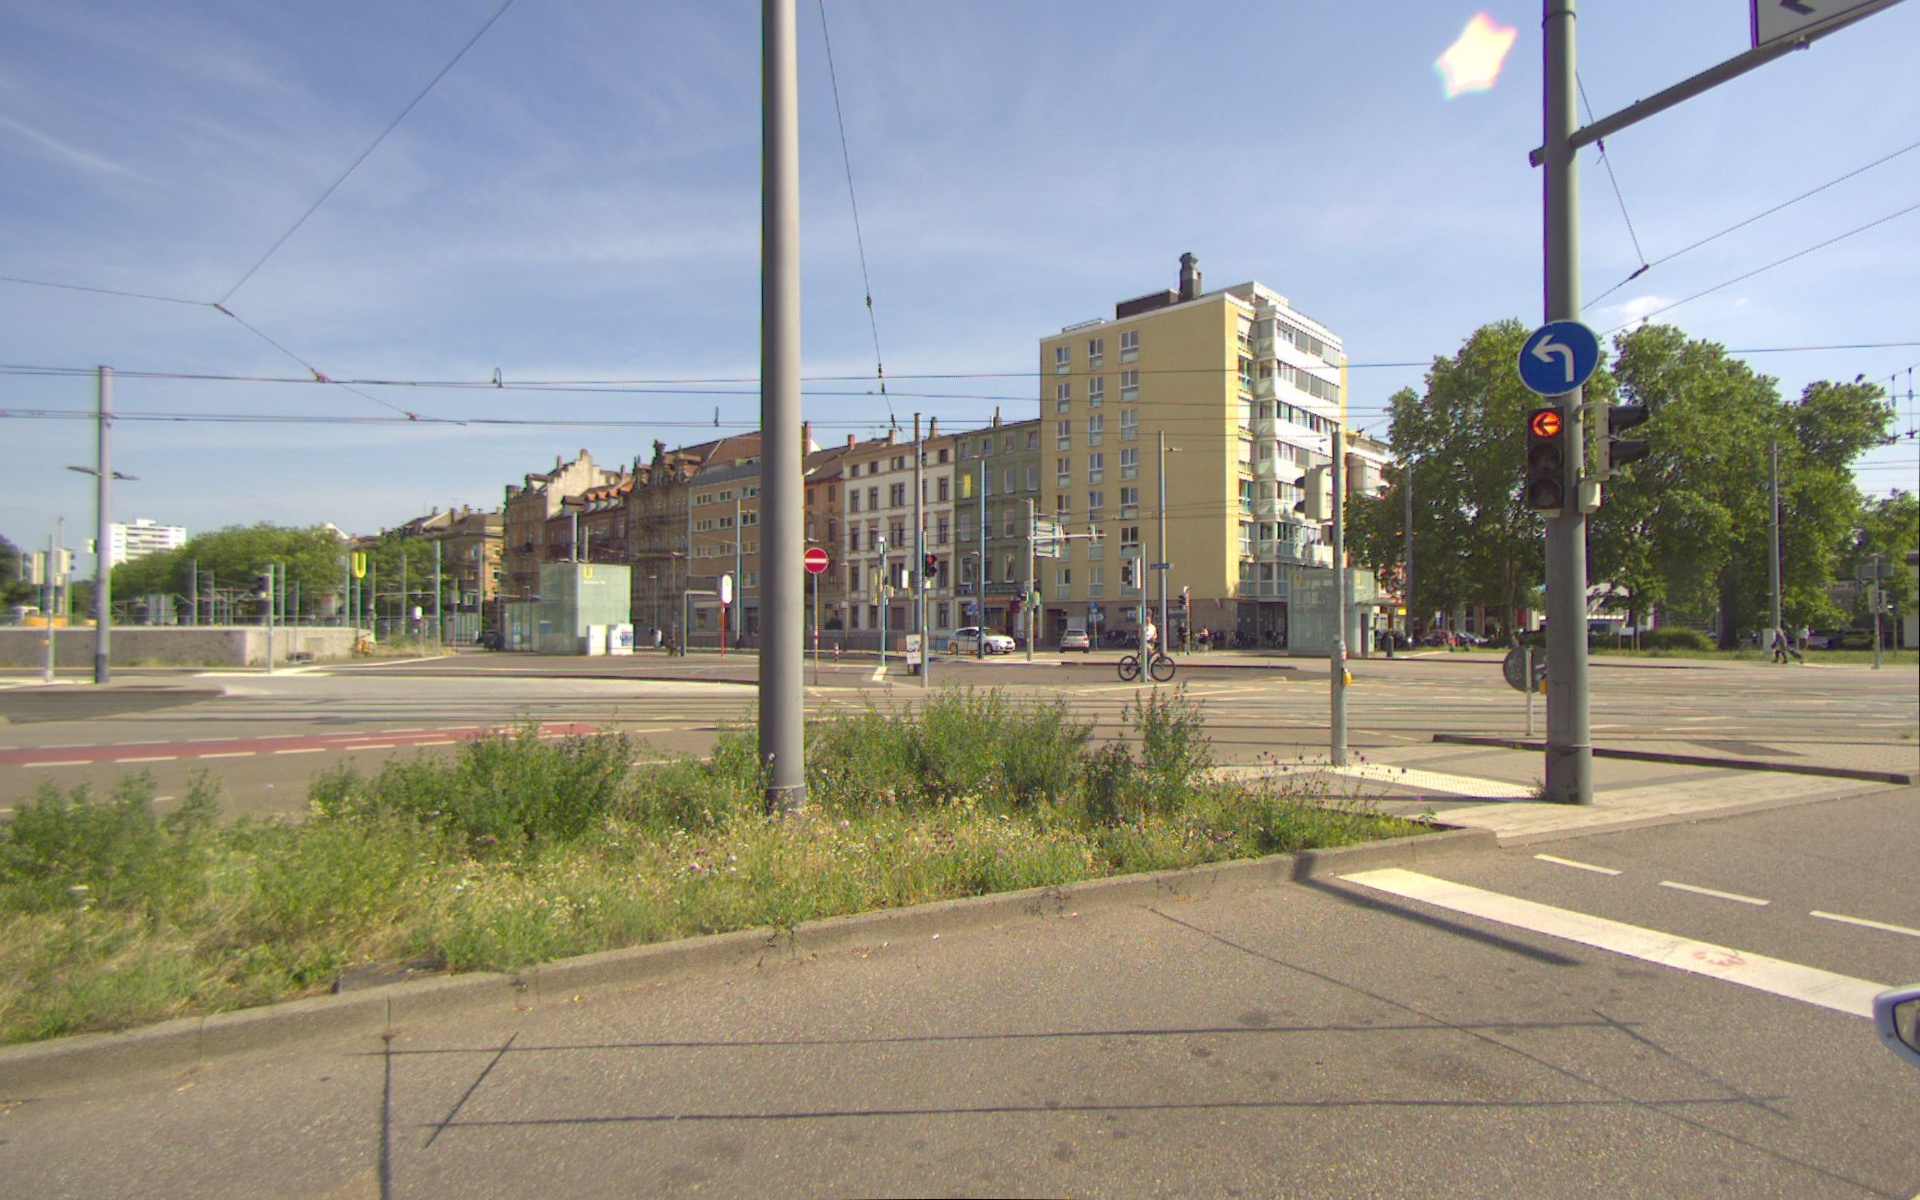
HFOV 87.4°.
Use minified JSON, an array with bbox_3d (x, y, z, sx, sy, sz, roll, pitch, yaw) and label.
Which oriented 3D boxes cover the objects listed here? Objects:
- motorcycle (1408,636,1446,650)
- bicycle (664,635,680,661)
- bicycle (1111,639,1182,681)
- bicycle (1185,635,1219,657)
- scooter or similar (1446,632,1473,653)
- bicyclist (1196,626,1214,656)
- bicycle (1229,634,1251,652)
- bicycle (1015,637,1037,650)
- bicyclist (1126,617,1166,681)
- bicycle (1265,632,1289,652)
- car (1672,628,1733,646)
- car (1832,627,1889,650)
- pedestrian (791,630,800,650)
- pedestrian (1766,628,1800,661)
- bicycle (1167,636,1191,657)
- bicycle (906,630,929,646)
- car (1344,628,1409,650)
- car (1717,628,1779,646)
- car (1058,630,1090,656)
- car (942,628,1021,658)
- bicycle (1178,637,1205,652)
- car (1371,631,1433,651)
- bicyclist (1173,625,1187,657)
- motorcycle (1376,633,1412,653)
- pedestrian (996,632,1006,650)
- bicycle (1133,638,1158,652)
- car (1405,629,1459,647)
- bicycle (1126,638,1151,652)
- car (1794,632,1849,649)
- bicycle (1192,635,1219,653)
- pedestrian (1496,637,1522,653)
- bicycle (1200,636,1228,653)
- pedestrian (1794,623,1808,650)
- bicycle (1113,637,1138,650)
[{"bbox_3d":[28.326,2.598,60.961,1.997,0.853,0.641,0,-1,4],"label":"motorcycle"},{"bbox_3d":[-13.171,2.175,45.910,0.408,1.085,1.651,0,0,-28],"label":"bicycle"},{"bbox_3d":[5.046,1.640,27.280,0.745,1.098,1.828,2,-4,-40],"label":"bicycle"},{"bbox_3d":[12.996,2.449,53.958,1.775,1.145,0.749,1,-2,-30],"label":"bicycle"},{"bbox_3d":[27.095,2.312,54.533,0.509,1.134,1.358,0,-1,-19],"label":"scooter or similar"},{"bbox_3d":[13.148,2.210,54.012,0.605,1.593,0.728,1,-3,-29],"label":"bicyclist"},{"bbox_3d":[18.360,2.809,65.771,0.534,1.201,1.878,-1,-2,45],"label":"bicycle"},{"bbox_3d":[4.997,3.293,76.313,1.755,0.977,0.412,-2,0,43],"label":"bicycle"},{"bbox_3d":[5.048,1.325,27.272,0.745,1.706,0.768,2,-4,-40],"label":"bicyclist"},{"bbox_3d":[20.465,2.720,64.863,1.740,1.235,0.578,0,-1,-37],"label":"bicycle"},{"bbox_3d":[66.635,3.304,90.194,1.976,1.390,3.968,2,0,-30],"label":"car"},{"bbox_3d":[71.654,3.090,79.965,3.946,1.706,1.988,2,0,-25],"label":"car"},{"bbox_3d":[-13.680,3.312,83.710,0.518,1.687,0.551,-2,-2,43],"label":"pedestrian"},{"bbox_3d":[36.299,1.958,44.313,1.100,1.422,0.654,2,0,39],"label":"pedestrian"},{"bbox_3d":[12.092,2.570,55.450,0.575,1.145,1.790,-2,-3,37],"label":"bicycle"},{"bbox_3d":[-3.031,2.690,71.253,0.589,1.109,1.738,0,-2,43],"label":"bicycle"},{"bbox_3d":[30.519,2.831,73.678,3.945,1.459,1.879,1,0,44],"label":"car"},{"bbox_3d":[70.335,3.245,89.713,1.977,1.572,3.967,1,-2,-31],"label":"car"},{"bbox_3d":[7.014,2.660,62.082,1.777,1.458,4.004,1,-4,4],"label":"car"},{"bbox_3d":[1.128,2.274,53.678,4.067,1.417,1.749,-1,1,43],"label":"car"},{"bbox_3d":[15.310,2.940,66.355,0.579,0.978,1.736,0,-2,-41],"label":"bicycle"},{"bbox_3d":[33.769,3.118,76.783,3.945,1.287,1.733,1,0,44],"label":"car"},{"bbox_3d":[12.114,2.257,55.283,0.575,1.757,0.615,-2,-3,37],"label":"bicyclist"},{"bbox_3d":[24.791,2.453,57.387,0.631,1.076,2.028,1,-2,-22],"label":"motorcycle"},{"bbox_3d":[3.205,3.176,78.299,0.637,1.392,0.524,-1,-2,43],"label":"pedestrian"},{"bbox_3d":[12.743,3.065,68.949,0.579,0.928,1.737,0,-2,-39],"label":"bicycle"},{"bbox_3d":[38.907,3.133,82.886,3.684,1.358,1.733,1,0,44],"label":"car"},{"bbox_3d":[12.234,3.048,68.717,0.579,0.928,1.737,0,-2,-39],"label":"bicycle"},{"bbox_3d":[70.179,3.276,81.824,3.946,1.261,1.988,2,0,-25],"label":"car"},{"bbox_3d":[15.874,2.854,64.988,0.578,1.100,1.740,-3,0,-34],"label":"bicycle"},{"bbox_3d":[32.302,2.647,59.114,1.159,0.904,0.818,-1,-2,41],"label":"pedestrian"},{"bbox_3d":[16.502,2.863,65.212,0.579,1.056,1.737,0,-2,-40],"label":"bicycle"},{"bbox_3d":[50.511,2.173,60.320,0.455,1.617,0.393,2,0,-6],"label":"pedestrian"},{"bbox_3d":[11.542,3.033,70.047,1.733,0.928,0.580,-2,-2,44],"label":"bicycle"}]
